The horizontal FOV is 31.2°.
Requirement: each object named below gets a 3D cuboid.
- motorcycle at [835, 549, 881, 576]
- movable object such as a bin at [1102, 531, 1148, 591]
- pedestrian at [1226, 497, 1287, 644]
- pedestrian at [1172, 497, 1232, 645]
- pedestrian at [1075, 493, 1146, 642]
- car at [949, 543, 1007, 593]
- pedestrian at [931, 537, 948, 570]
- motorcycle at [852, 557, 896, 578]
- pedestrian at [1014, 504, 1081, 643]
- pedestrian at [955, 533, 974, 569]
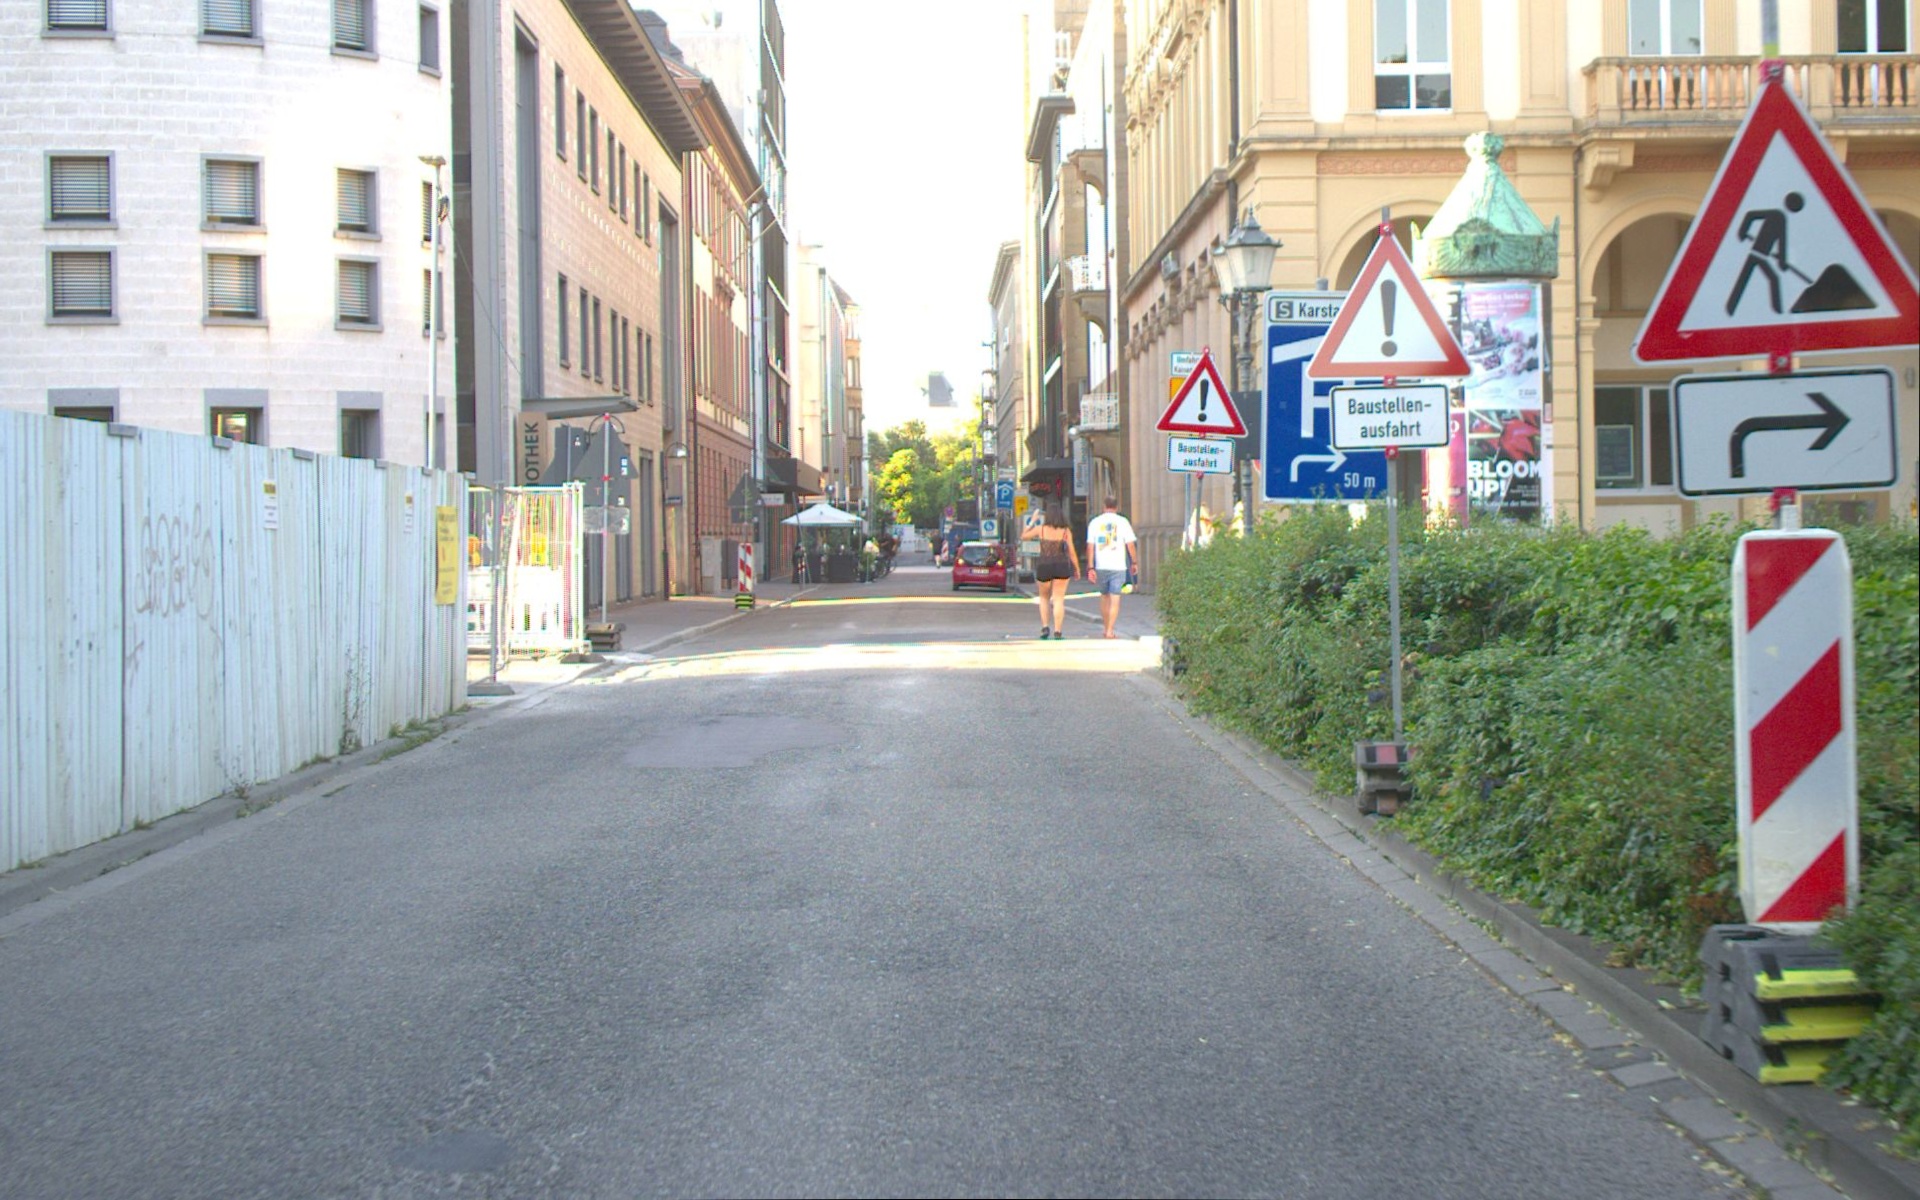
[{"bbox_3d":[-3.994,-1.463,134.761,1.801,1.037,0.494,0,0,-4],"label":"motorcycle"},{"bbox_3d":[3.937,-0.929,82.072,0.990,1.387,1.241,-1,1,-1],"label":"movable object such as a bin"},{"bbox_3d":[3.670,-0.366,42.537,0.636,1.797,0.772,-1,0,-1],"label":"pedestrian"},{"bbox_3d":[2.987,-0.361,42.514,0.636,1.797,0.772,-1,0,-1],"label":"pedestrian"},{"bbox_3d":[1.920,-0.416,44.006,0.812,1.869,0.875,-1,0,-1],"label":"pedestrian"},{"bbox_3d":[0.537,-0.955,103.096,1.649,1.422,3.535,2,1,0],"label":"car"},{"bbox_3d":[-1.059,-2.400,177.669,0.804,1.667,0.888,-1,1,2],"label":"pedestrian"},{"bbox_3d":[-3.589,-1.351,142.957,1.801,0.872,0.560,0,1,-4],"label":"motorcycle"},{"bbox_3d":[1.110,-0.345,43.891,0.775,1.740,0.875,-1,0,-1],"label":"pedestrian"},{"bbox_3d":[0.226,-2.319,163.175,0.865,1.707,0.852,0,0,0],"label":"pedestrian"}]
